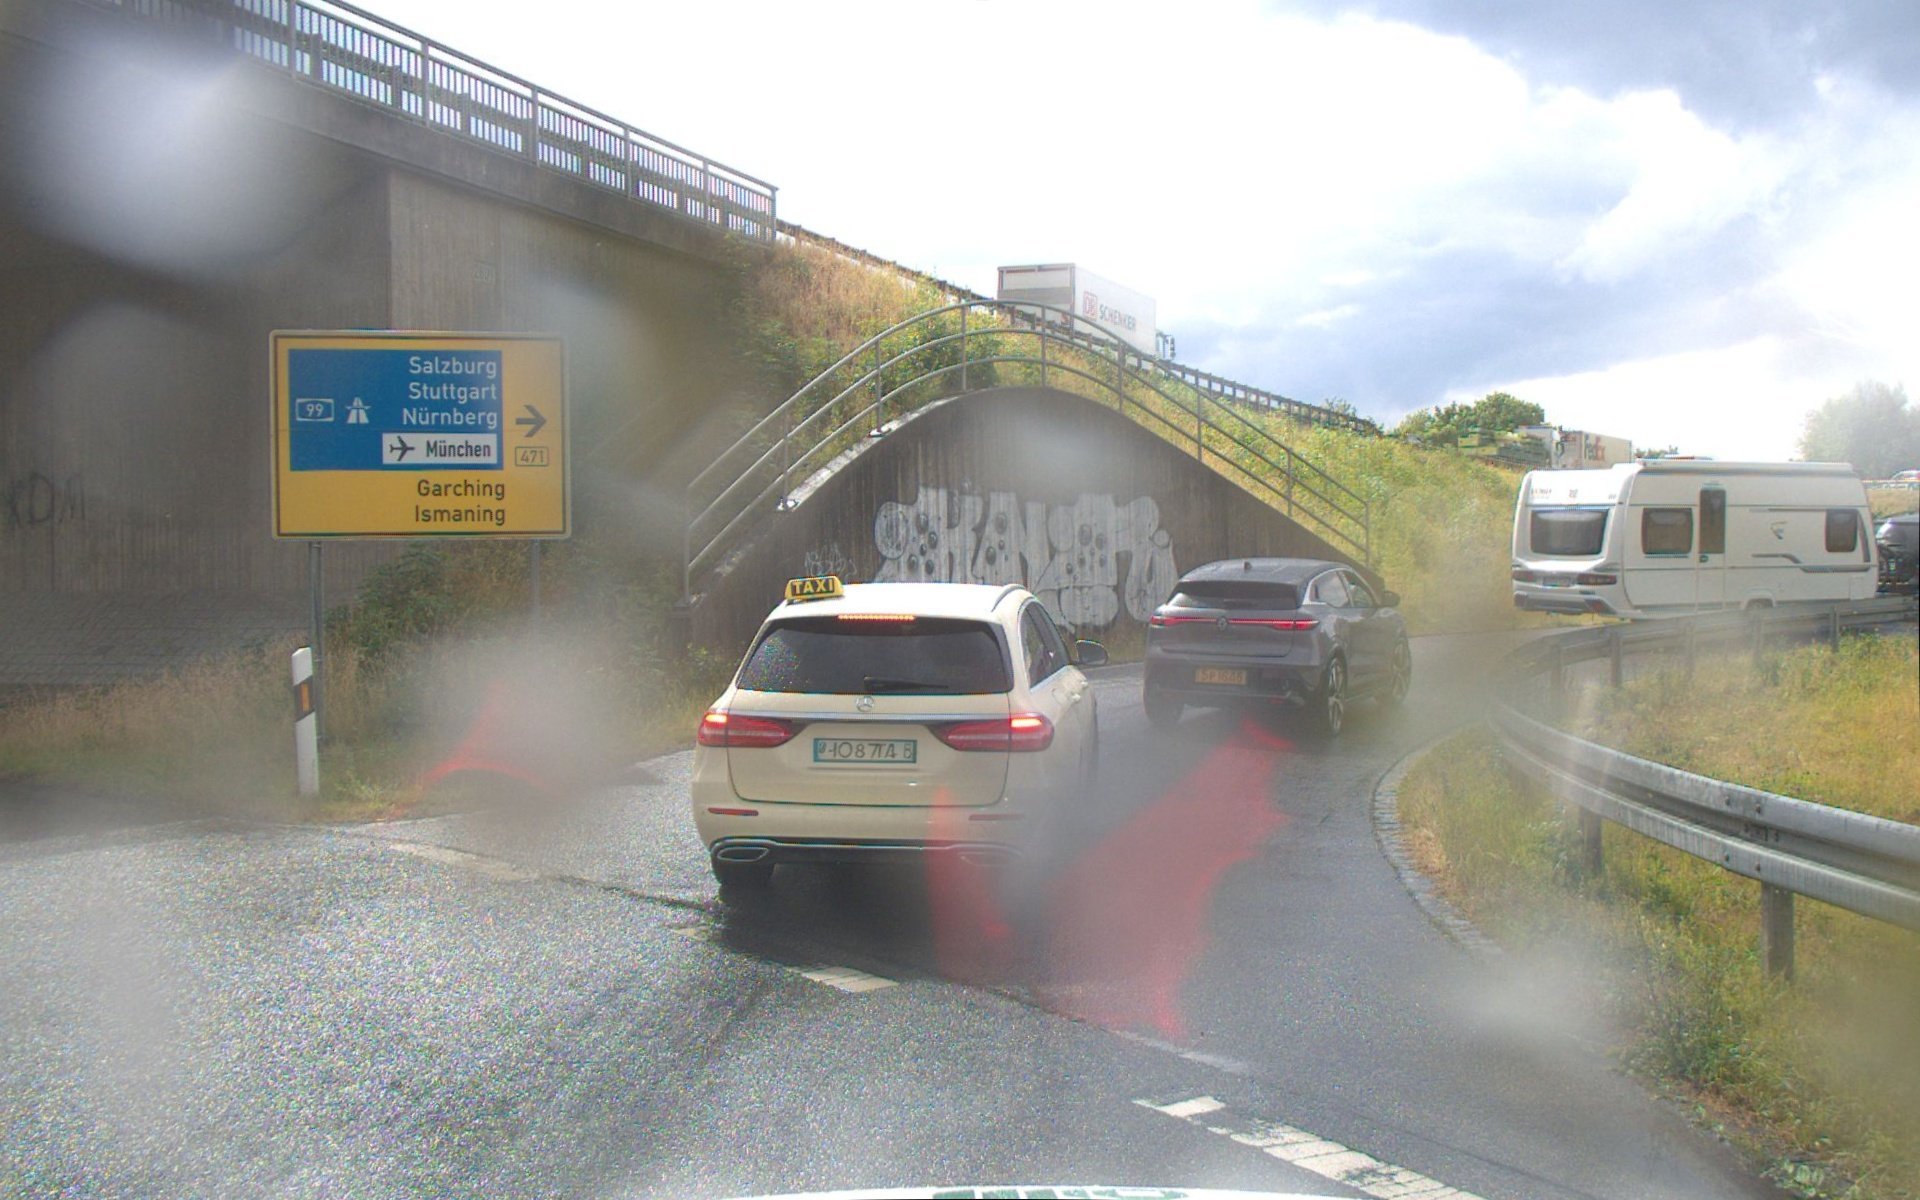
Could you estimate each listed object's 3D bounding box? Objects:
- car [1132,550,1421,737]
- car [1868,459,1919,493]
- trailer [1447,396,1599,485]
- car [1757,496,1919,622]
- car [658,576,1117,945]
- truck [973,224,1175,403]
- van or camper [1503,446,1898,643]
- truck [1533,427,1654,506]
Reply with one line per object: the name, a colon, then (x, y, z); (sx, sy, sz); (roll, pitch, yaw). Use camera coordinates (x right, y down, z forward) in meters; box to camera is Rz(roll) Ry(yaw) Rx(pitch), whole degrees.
car: (3.177, 0.315, 15.965); (1.685, 1.551, 3.996); (1, 2, 27)
car: (64.591, -8.454, 113.150); (1.972, 2.049, 3.960); (-1, 1, -30)
trailer: (36.890, -10.101, 107.397); (4.336, 4.024, 20.158); (1, 1, 33)
car: (16.613, -0.779, 27.934); (5.656, 1.958, 2.423); (-2, 3, -20)
car: (-0.102, 0.652, 9.251); (1.875, 1.533, 4.599); (0, 0, 6)
truck: (3.802, -8.737, 51.931); (3.118, 4.035, 9.229); (1, 1, 26)
van or camper: (11.552, -0.949, 25.754); (5.908, 2.776, 2.419); (-3, 3, -26)
truck: (47.609, -9.754, 123.720); (4.382, 4.581, 19.319); (1, 1, 33)
